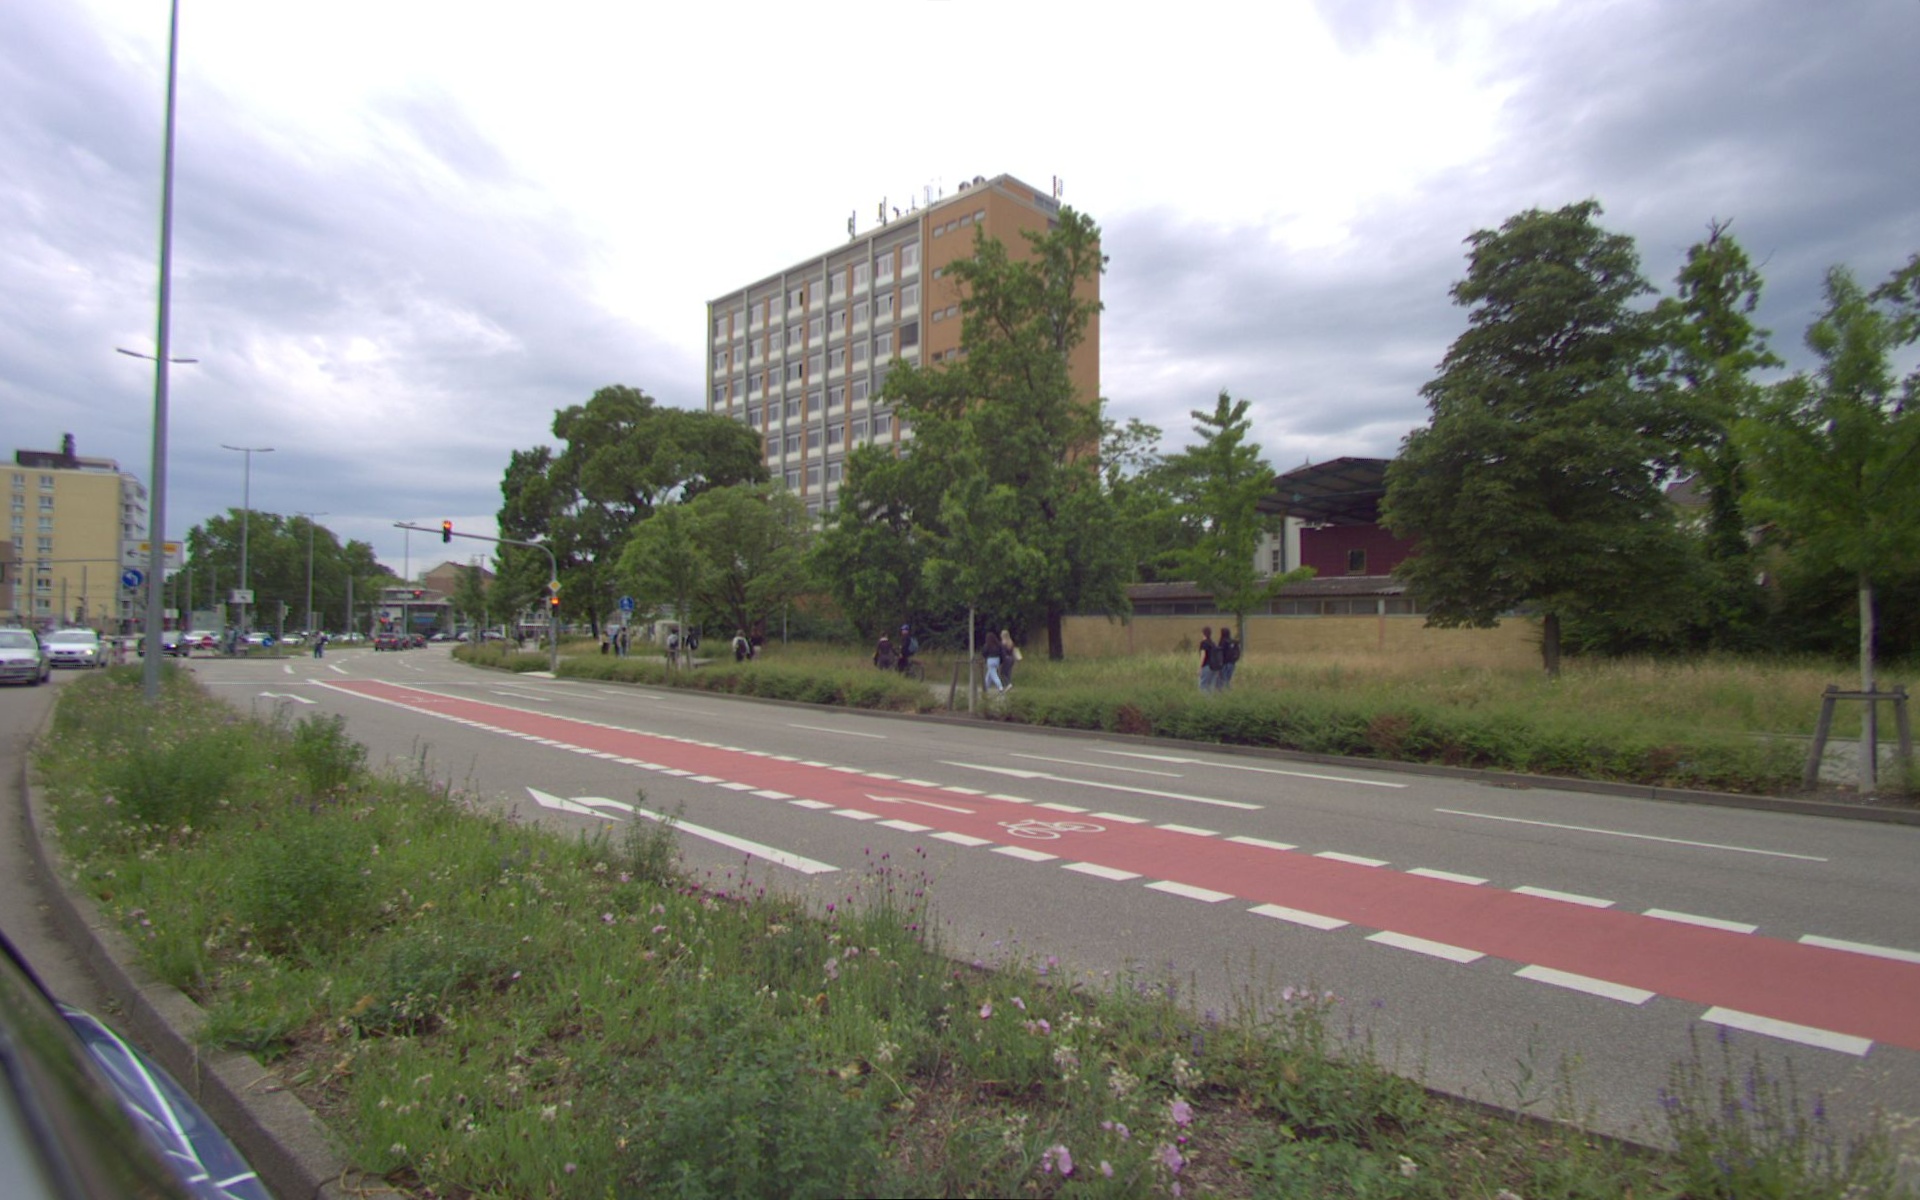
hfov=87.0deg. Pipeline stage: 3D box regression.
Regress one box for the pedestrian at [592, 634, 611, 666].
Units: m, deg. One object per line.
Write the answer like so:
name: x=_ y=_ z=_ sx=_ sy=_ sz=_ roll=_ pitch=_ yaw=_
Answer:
pedestrian: x=-18.969 y=2.651 z=53.586 sx=0.697 sy=1.684 sz=0.945 roll=1 pitch=-3 yaw=-38

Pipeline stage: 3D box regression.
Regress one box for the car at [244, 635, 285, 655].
car: x=-68.328 y=4.451 z=99.472 sx=1.967 sy=1.896 sz=4.010 roll=2 pitch=-3 yaw=-13

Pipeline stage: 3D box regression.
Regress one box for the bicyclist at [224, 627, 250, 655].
bicyclist: x=-45.023 y=2.555 z=63.000 sx=1.173 sy=1.749 sz=0.808 roll=4 pitch=-4 yaw=-40

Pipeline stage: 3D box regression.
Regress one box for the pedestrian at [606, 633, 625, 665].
pedestrian: x=-18.412 y=2.602 z=54.152 sx=0.697 sy=1.683 sz=0.891 roll=0 pitch=-2 yaw=-38

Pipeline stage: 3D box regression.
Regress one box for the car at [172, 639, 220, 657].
car: x=-65.890 y=4.153 z=87.353 sx=1.790 sy=1.486 sz=4.042 roll=2 pitch=-3 yaw=-13

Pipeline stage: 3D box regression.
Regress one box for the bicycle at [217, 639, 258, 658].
bicycle: x=-44.977 y=3.041 z=63.015 sx=1.975 sy=1.151 sz=0.808 roll=4 pitch=-4 yaw=-40

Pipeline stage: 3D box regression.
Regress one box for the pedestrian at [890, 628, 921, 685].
pedestrian: x=-1.596 y=1.645 z=29.624 sx=0.651 sy=1.644 sz=0.766 roll=3 pitch=-4 yaw=-26

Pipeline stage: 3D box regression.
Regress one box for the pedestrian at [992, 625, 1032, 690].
pedestrian: x=1.376 y=1.519 z=26.641 sx=0.767 sy=1.685 sz=0.699 roll=-2 pitch=-5 yaw=43

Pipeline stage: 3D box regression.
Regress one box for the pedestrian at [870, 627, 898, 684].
pedestrian: x=-2.184 y=1.606 z=29.106 sx=0.567 sy=1.621 sz=0.618 roll=3 pitch=-4 yaw=-26

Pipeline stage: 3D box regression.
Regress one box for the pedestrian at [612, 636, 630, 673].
pedestrian: x=-16.793 y=2.684 z=50.184 sx=0.629 sy=1.815 sz=0.763 roll=2 pitch=-3 yaw=-38

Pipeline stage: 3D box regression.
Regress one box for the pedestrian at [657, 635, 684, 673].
pedestrian: x=-11.580 y=2.164 z=40.486 sx=0.719 sy=1.491 sz=0.814 roll=4 pitch=-4 yaw=-38

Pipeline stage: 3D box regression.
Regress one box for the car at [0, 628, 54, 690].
car: x=-23.780 y=1.443 z=25.085 sx=1.700 sy=1.425 sz=4.253 roll=0 pitch=-2 yaw=-38

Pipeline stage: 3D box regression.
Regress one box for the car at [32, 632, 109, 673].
car: x=-33.834 y=1.957 z=38.586 sx=1.757 sy=1.474 sz=3.880 roll=0 pitch=-2 yaw=-35

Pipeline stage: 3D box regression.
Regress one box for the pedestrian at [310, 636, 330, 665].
pedestrian: x=-41.339 y=3.250 z=65.393 sx=0.737 sy=1.818 sz=0.761 roll=-1 pitch=-4 yaw=27

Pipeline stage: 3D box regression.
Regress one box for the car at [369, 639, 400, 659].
car: x=-52.907 y=4.477 z=93.118 sx=1.785 sy=1.680 sz=3.961 roll=2 pitch=-2 yaw=-19

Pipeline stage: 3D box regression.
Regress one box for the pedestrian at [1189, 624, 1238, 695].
pedestrian: x=5.043 y=1.184 z=20.161 sx=0.637 sy=1.368 sz=0.712 roll=4 pitch=-5 yaw=-43

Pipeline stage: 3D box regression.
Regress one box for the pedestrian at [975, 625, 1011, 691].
pedestrian: x=0.853 y=1.493 z=26.105 sx=0.720 sy=1.673 sz=0.579 roll=-2 pitch=-5 yaw=43

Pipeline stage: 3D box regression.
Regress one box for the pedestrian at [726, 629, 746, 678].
pedestrian: x=-8.002 y=1.924 z=36.157 sx=0.613 sy=1.708 sz=0.749 roll=2 pitch=-4 yaw=-16

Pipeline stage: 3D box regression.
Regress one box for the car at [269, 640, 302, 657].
car: x=-72.688 y=5.248 z=109.129 sx=1.808 sy=1.777 sz=3.922 roll=2 pitch=-4 yaw=-16

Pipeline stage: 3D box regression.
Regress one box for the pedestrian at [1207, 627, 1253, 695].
pedestrian: x=5.523 y=1.244 z=20.689 sx=0.637 sy=1.373 sz=0.681 roll=4 pitch=-5 yaw=-43

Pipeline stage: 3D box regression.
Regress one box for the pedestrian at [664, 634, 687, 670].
pedestrian: x=-13.068 y=2.398 z=46.481 sx=0.826 sy=1.625 sz=0.629 roll=-2 pitch=-2 yaw=27

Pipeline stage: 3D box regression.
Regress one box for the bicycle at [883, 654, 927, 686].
bicycle: x=-1.626 y=2.045 z=29.649 sx=0.651 sy=0.895 sz=1.720 roll=3 pitch=-4 yaw=-26

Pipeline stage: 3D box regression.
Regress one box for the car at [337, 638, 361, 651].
car: x=-78.543 y=5.716 z=130.098 sx=1.775 sy=1.608 sz=3.770 roll=2 pitch=-4 yaw=-17

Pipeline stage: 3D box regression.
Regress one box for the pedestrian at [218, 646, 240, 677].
pedestrian: x=-43.504 y=3.662 z=60.228 sx=0.903 sy=1.818 sz=0.542 roll=2 pitch=-4 yaw=-25

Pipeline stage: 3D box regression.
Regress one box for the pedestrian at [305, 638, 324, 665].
pedestrian: x=-40.152 y=3.189 z=62.978 sx=0.706 sy=1.680 sz=0.767 roll=-2 pitch=-5 yaw=40

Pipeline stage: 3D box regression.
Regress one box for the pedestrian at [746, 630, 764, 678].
pedestrian: x=-7.441 y=1.950 z=36.662 sx=0.571 sy=1.725 sz=0.764 roll=2 pitch=-4 yaw=-14

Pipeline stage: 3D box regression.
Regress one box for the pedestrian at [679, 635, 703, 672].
pedestrian: x=-10.905 y=2.181 z=41.033 sx=0.627 sy=1.491 sz=0.763 roll=4 pitch=-4 yaw=-38

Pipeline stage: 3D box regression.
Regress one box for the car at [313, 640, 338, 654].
car: x=-75.751 y=5.663 z=120.868 sx=1.583 sy=1.608 sz=3.770 roll=2 pitch=-4 yaw=-17
